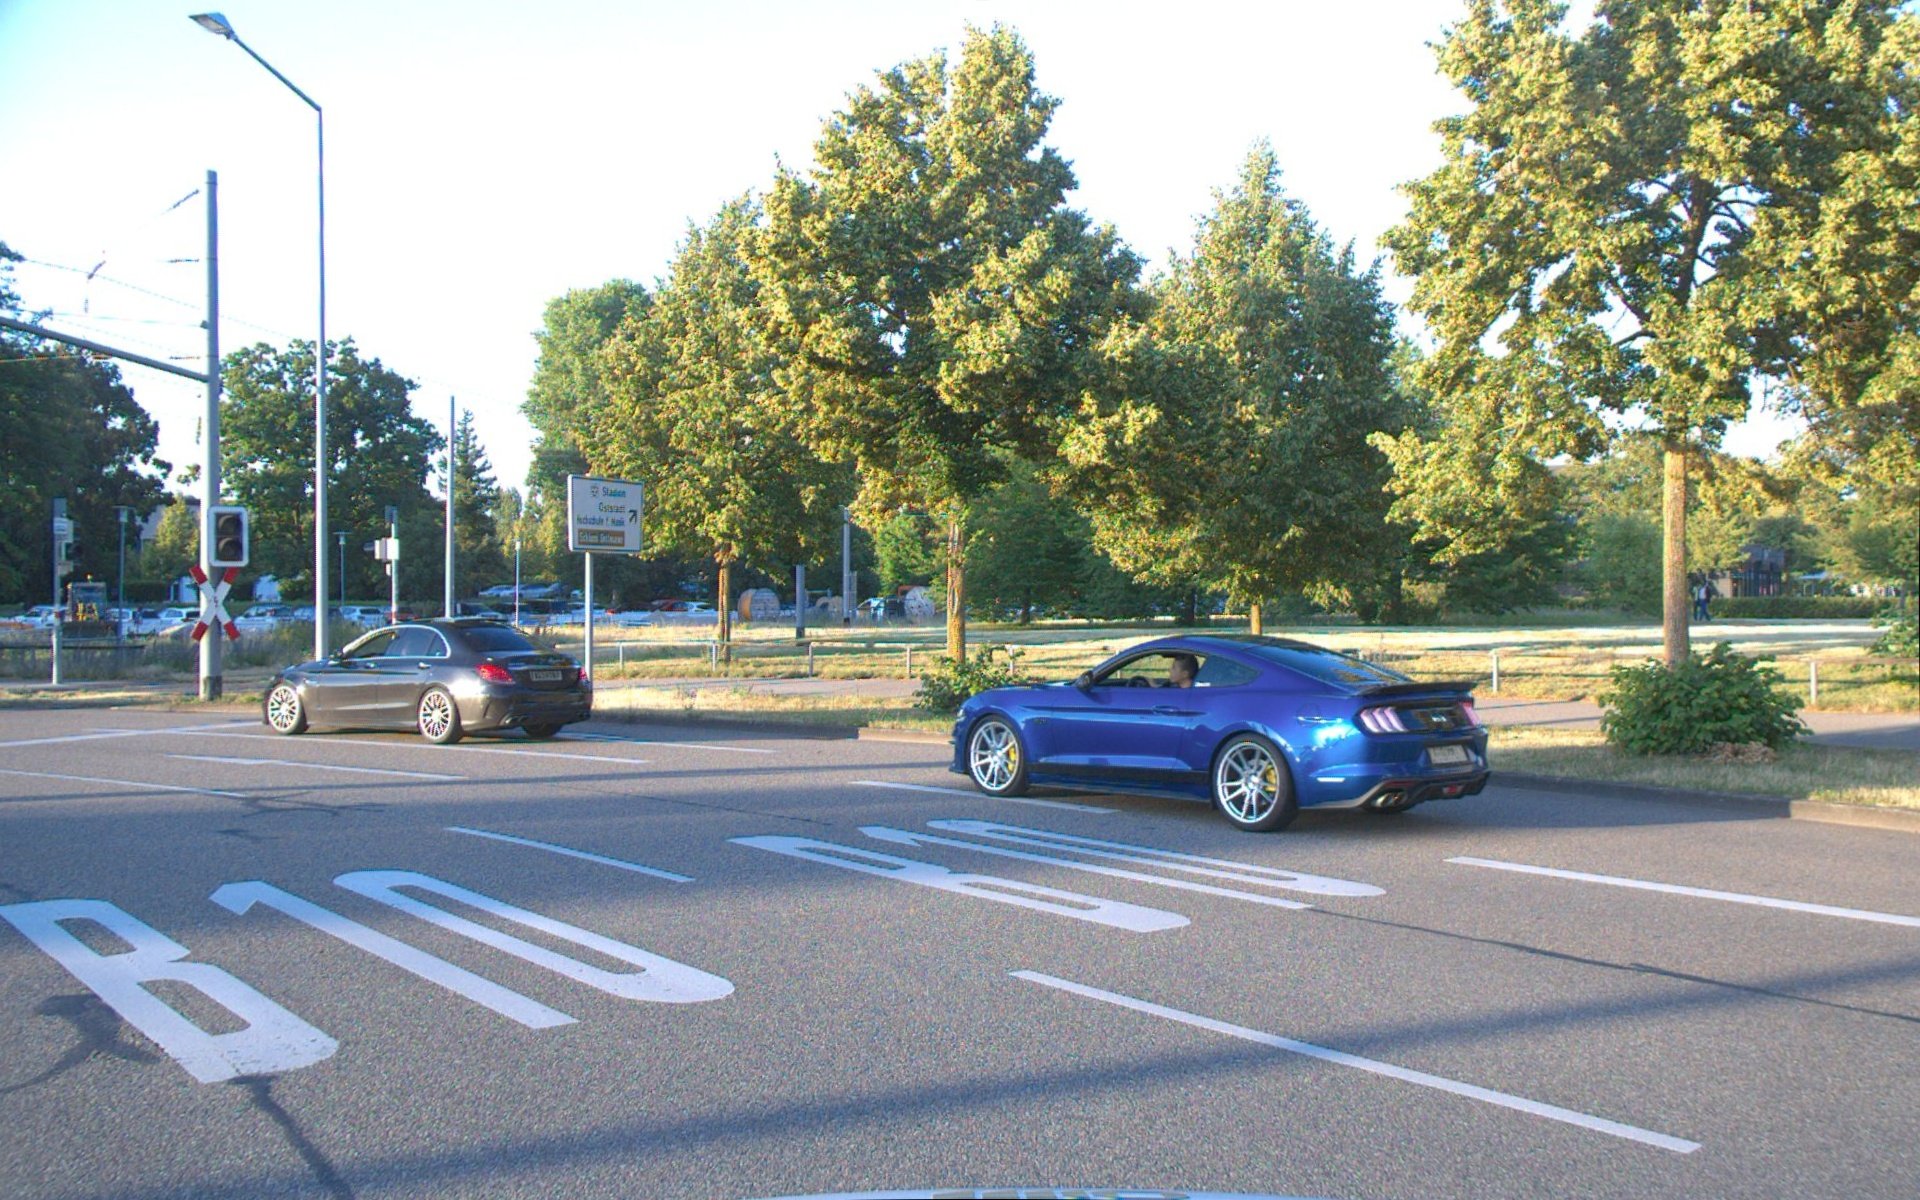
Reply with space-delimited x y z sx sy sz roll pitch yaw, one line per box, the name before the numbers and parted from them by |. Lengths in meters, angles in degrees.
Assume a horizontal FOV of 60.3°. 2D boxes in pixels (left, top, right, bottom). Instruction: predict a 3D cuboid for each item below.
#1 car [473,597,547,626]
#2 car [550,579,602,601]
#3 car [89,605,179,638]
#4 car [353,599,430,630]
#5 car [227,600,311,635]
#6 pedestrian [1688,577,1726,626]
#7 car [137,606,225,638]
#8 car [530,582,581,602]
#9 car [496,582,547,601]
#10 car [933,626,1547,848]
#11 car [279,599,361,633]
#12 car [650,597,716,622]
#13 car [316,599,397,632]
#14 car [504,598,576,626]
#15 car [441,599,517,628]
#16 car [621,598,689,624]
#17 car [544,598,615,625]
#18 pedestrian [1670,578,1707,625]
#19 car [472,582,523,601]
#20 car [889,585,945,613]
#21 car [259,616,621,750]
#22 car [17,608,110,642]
car | -25.625 0.673 94.178 3.914 1.581 1.899 -1 0 32
car | -32.295 -0.834 139.239 1.959 1.775 3.987 0 -1 34
car | -38.119 0.998 76.319 3.914 1.471 1.948 -1 0 32
car | -30.474 0.792 88.653 3.914 1.581 1.899 -1 0 32
car | -34.603 0.873 82.802 3.914 1.691 1.948 -1 0 32
pedestrian | 29.487 0.052 65.274 1.088 1.896 0.903 0 0 -27
car | -36.784 1.049 78.061 3.914 1.471 1.948 -1 0 32
car | -34.406 -0.684 140.896 1.865 1.581 3.986 -1 0 35
car | -38.106 -0.754 143.732 1.865 1.581 3.986 -1 0 35
car | 2.020 0.924 13.063 1.941 1.365 4.598 1 -1 -42
car | -32.715 0.815 84.516 3.914 1.691 1.948 -1 0 32
car | -17.734 0.605 105.942 3.914 1.581 1.899 -1 0 32
car | -31.520 0.808 86.389 3.914 1.691 1.948 -1 0 32
car | -24.470 0.675 96.279 3.914 1.581 1.899 -1 0 32
car | -26.922 0.779 92.562 4.011 1.581 1.899 -1 0 32
car | -19.215 0.678 104.141 3.914 1.581 1.899 -1 0 32
car | -22.690 0.688 98.660 3.914 1.581 1.899 -1 0 32
pedestrian | 29.348 0.063 66.657 1.088 1.896 0.903 0 0 -27
car | -40.708 -0.751 145.630 1.865 1.581 3.986 -1 0 35
car | -3.278 -0.070 127.037 3.914 2.132 1.899 -1 0 32
car | -6.439 0.940 20.346 4.336 1.452 1.952 0 -1 33
car | -40.112 1.103 73.995 3.914 1.471 1.948 -1 0 32
